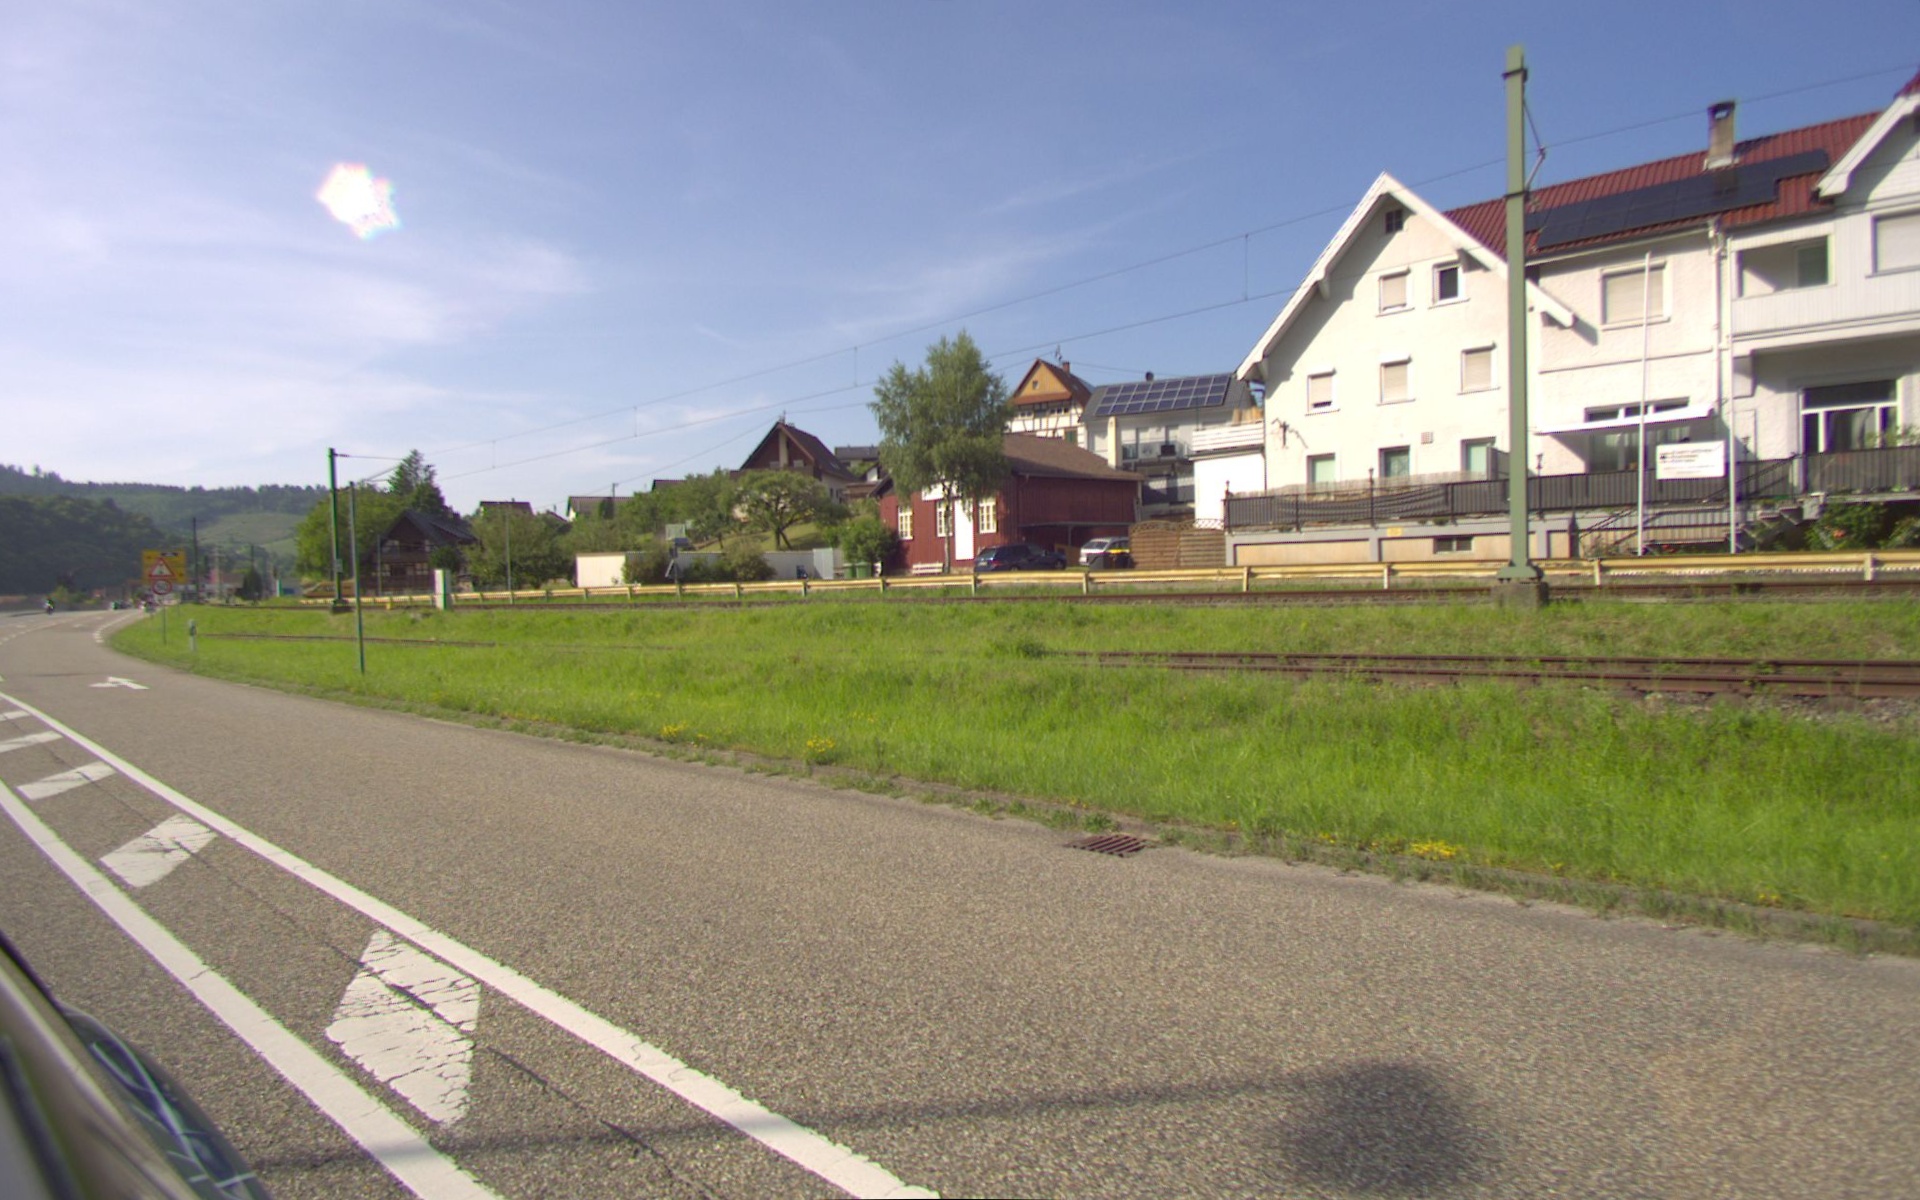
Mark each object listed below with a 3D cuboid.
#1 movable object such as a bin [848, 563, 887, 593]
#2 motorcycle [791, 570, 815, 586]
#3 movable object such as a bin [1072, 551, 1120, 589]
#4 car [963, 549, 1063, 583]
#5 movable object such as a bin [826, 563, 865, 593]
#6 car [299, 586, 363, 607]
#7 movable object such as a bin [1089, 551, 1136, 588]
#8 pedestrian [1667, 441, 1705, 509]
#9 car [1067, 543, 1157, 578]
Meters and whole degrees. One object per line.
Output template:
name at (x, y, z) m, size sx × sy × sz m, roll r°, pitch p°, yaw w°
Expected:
movable object such as a bin at (-3.794, -0.901, 41.490) m, size 1.091 × 1.200 × 1.129 m, roll -1°, pitch 1°, yaw 36°
motorcycle at (-10.463, -1.436, 67.344) m, size 0.655 × 1.000 × 1.745 m, roll -3°, pitch 2°, yaw -44°
movable object such as a bin at (4.509, -1.002, 33.512) m, size 1.143 × 1.200 × 1.078 m, roll -1°, pitch 2°, yaw 42°
car at (2.266, -1.421, 42.471) m, size 4.043 × 1.280 × 1.740 m, roll -3°, pitch 1°, yaw -39°
movable object such as a bin at (-4.772, -0.926, 42.238) m, size 1.091 × 1.200 × 1.129 m, roll -1°, pitch 1°, yaw 36°
car at (-84.868, -0.419, 136.721) m, size 6.965 × 2.475 × 2.958 m, roll -3°, pitch 1°, yaw -26°
movable object such as a bin at (5.197, -1.047, 34.444) m, size 1.143 × 1.200 × 1.078 m, roll -1°, pitch 2°, yaw 42°
pedestrian at (18.207, -3.120, 25.380) m, size 0.677 × 1.628 × 0.600 m, roll -1°, pitch 1°, yaw 41°
car at (6.520, -1.697, 43.155) m, size 1.755 × 1.339 × 4.208 m, roll -2°, pitch 1°, yaw 42°
